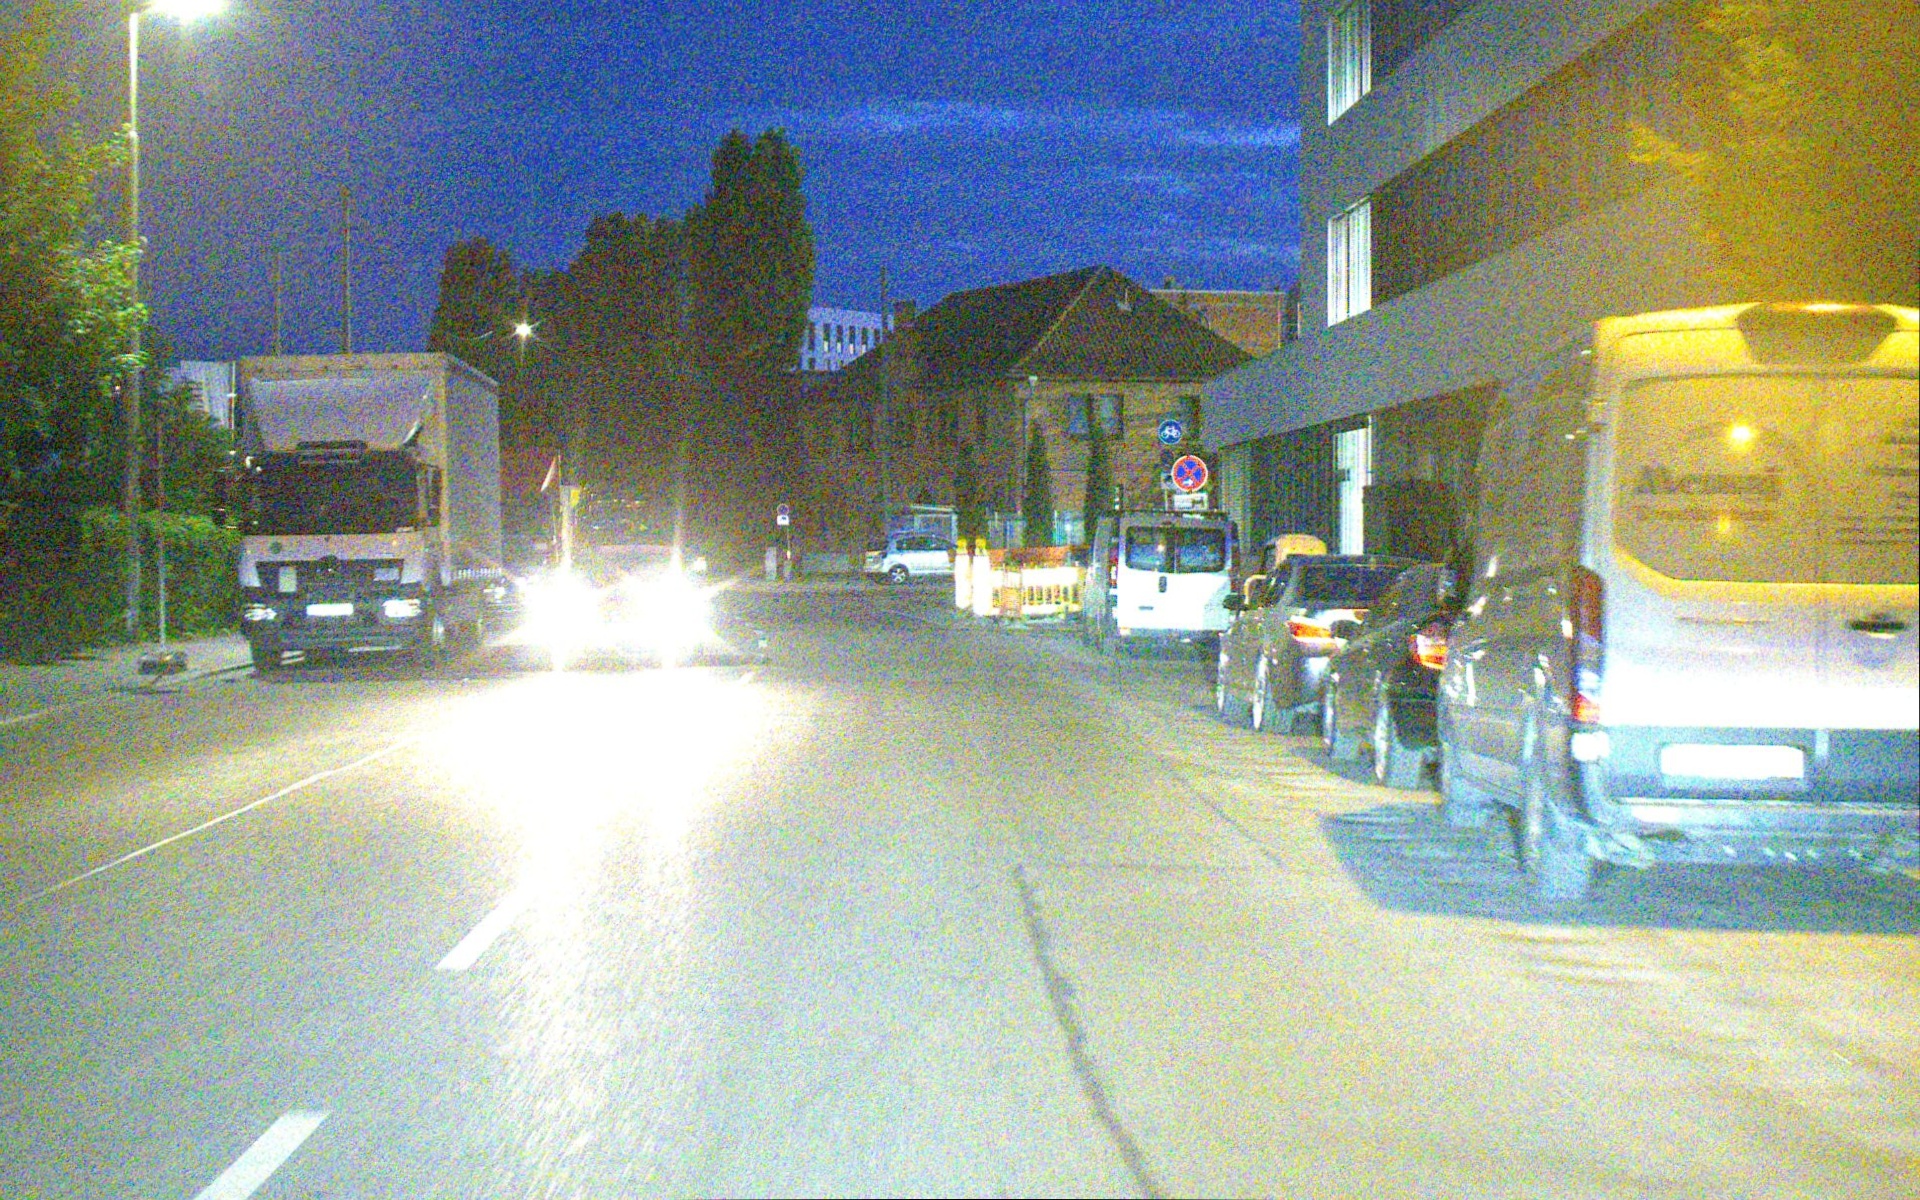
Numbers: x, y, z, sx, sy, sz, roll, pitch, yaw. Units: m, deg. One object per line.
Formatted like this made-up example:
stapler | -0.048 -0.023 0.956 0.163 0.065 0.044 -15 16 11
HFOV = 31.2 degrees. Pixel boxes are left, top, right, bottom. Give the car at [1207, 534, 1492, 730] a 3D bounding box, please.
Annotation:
car | 3.199 0.204 29.171 1.946 1.484 5.010 0 1 1

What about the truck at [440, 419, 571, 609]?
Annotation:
truck | -10.512 -1.956 79.016 2.772 4.106 9.344 -1 1 -8

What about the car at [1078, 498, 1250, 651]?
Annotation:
car | 2.805 -0.395 48.235 1.993 2.007 4.912 -1 1 -1

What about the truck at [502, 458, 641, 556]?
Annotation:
truck | -15.574 -3.663 136.978 2.754 3.770 10.228 -1 1 -22

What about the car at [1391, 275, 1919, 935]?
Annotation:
car | 3.422 -0.032 16.376 1.993 2.517 5.909 3 1 1

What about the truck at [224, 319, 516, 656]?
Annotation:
truck | -7.651 -1.435 45.787 2.746 4.020 9.562 0 1 -3

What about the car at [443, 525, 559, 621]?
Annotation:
car | -8.555 -0.539 64.348 1.943 1.711 5.199 -1 1 -5

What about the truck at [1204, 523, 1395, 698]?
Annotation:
truck | 3.335 0.064 34.296 1.370 1.639 3.813 0 1 -2

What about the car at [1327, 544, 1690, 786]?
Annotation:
car | 3.530 0.353 22.876 1.769 1.407 4.550 0 1 1

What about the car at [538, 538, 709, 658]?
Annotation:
car | -4.108 -0.058 42.496 1.857 1.415 4.001 0 1 -2

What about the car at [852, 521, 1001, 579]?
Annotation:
car | -1.075 -1.620 110.742 4.325 1.640 1.893 -3 3 -23

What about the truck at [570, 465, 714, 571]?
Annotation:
truck | -11.868 -3.026 127.520 2.754 3.770 9.139 -1 1 -22
